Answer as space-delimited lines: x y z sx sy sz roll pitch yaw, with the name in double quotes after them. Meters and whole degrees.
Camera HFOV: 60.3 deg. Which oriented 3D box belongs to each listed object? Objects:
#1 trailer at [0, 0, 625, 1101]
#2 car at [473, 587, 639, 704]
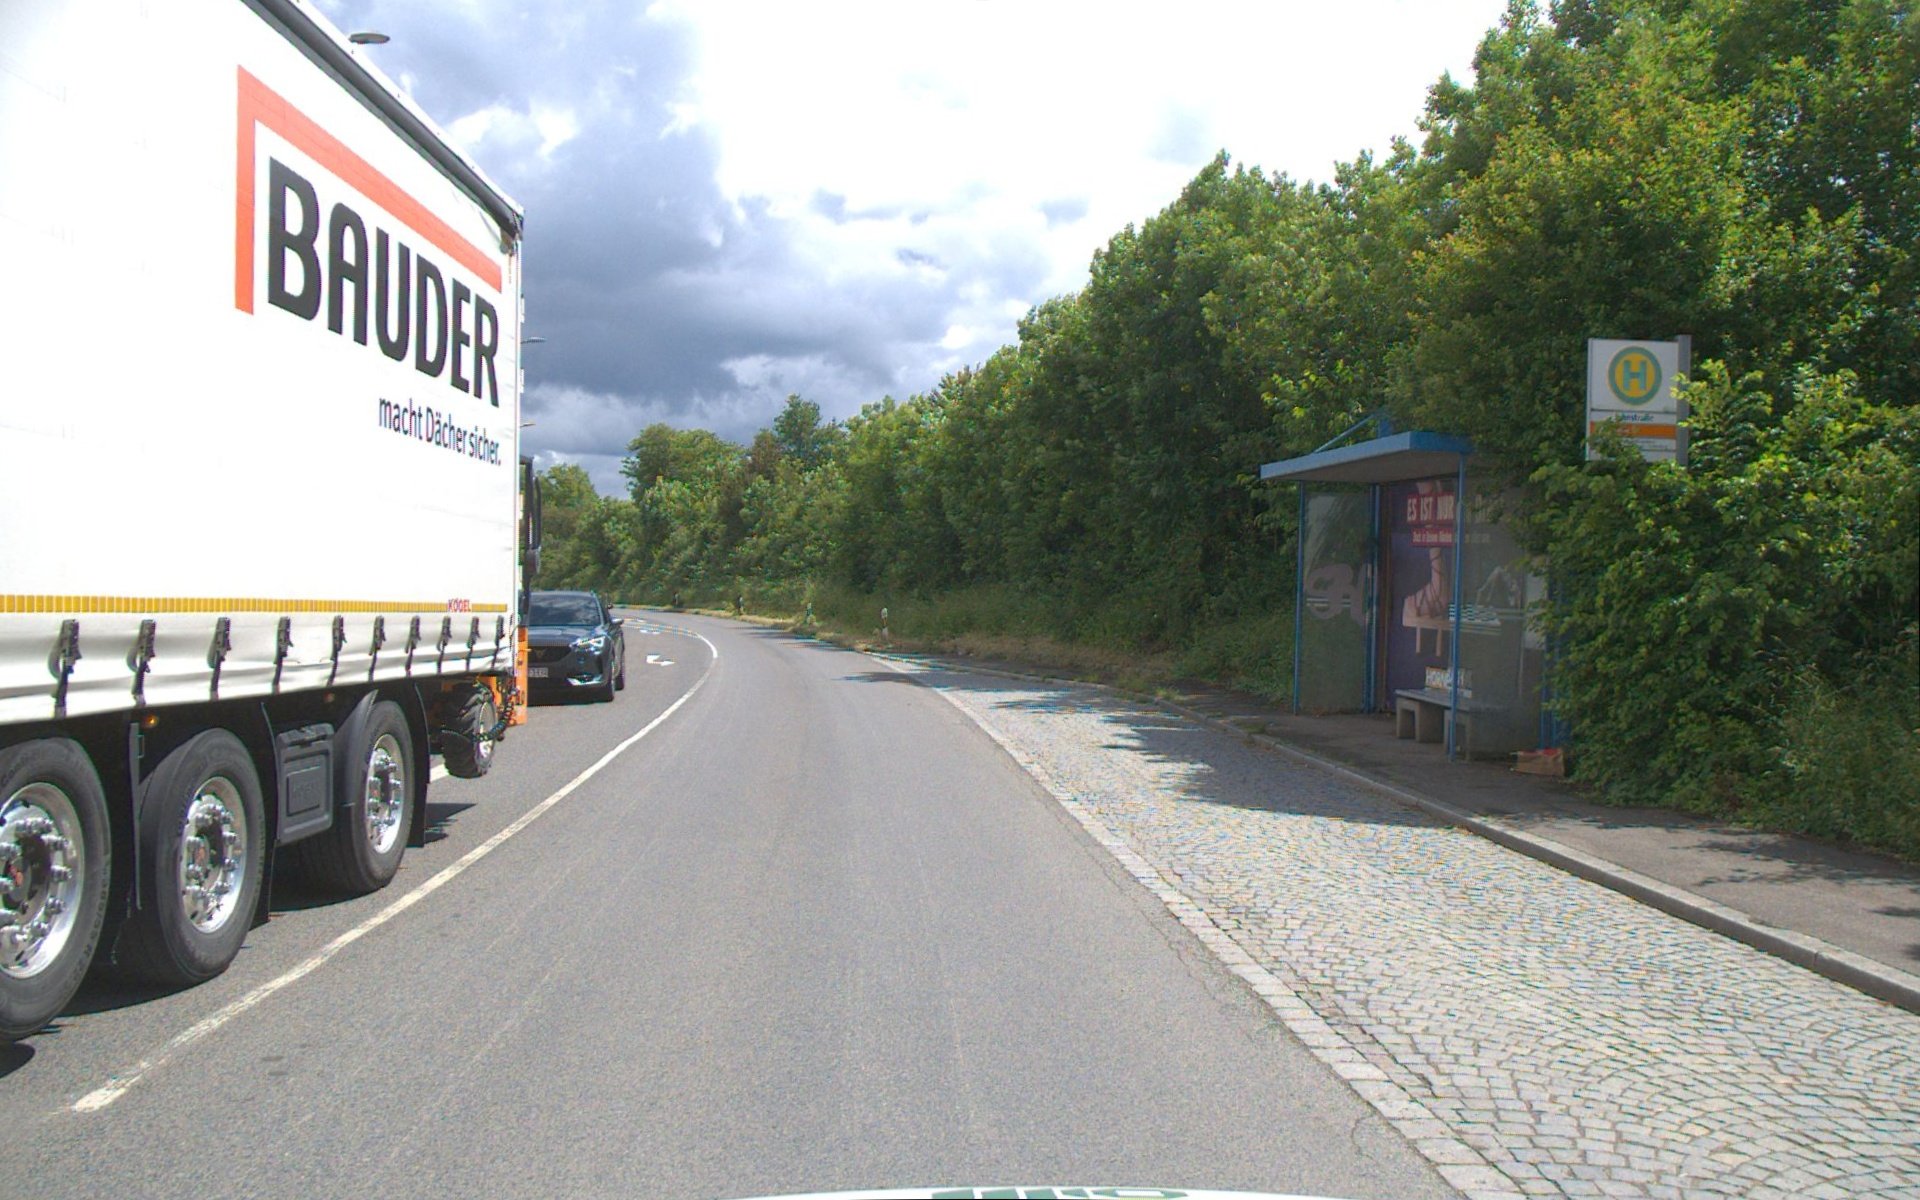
-4.005 -0.739 5.554 2.715 4.217 15.348 1 0 -1 "trailer"
-5.668 0.585 23.670 1.804 1.489 4.247 -1 0 -7 "car"
